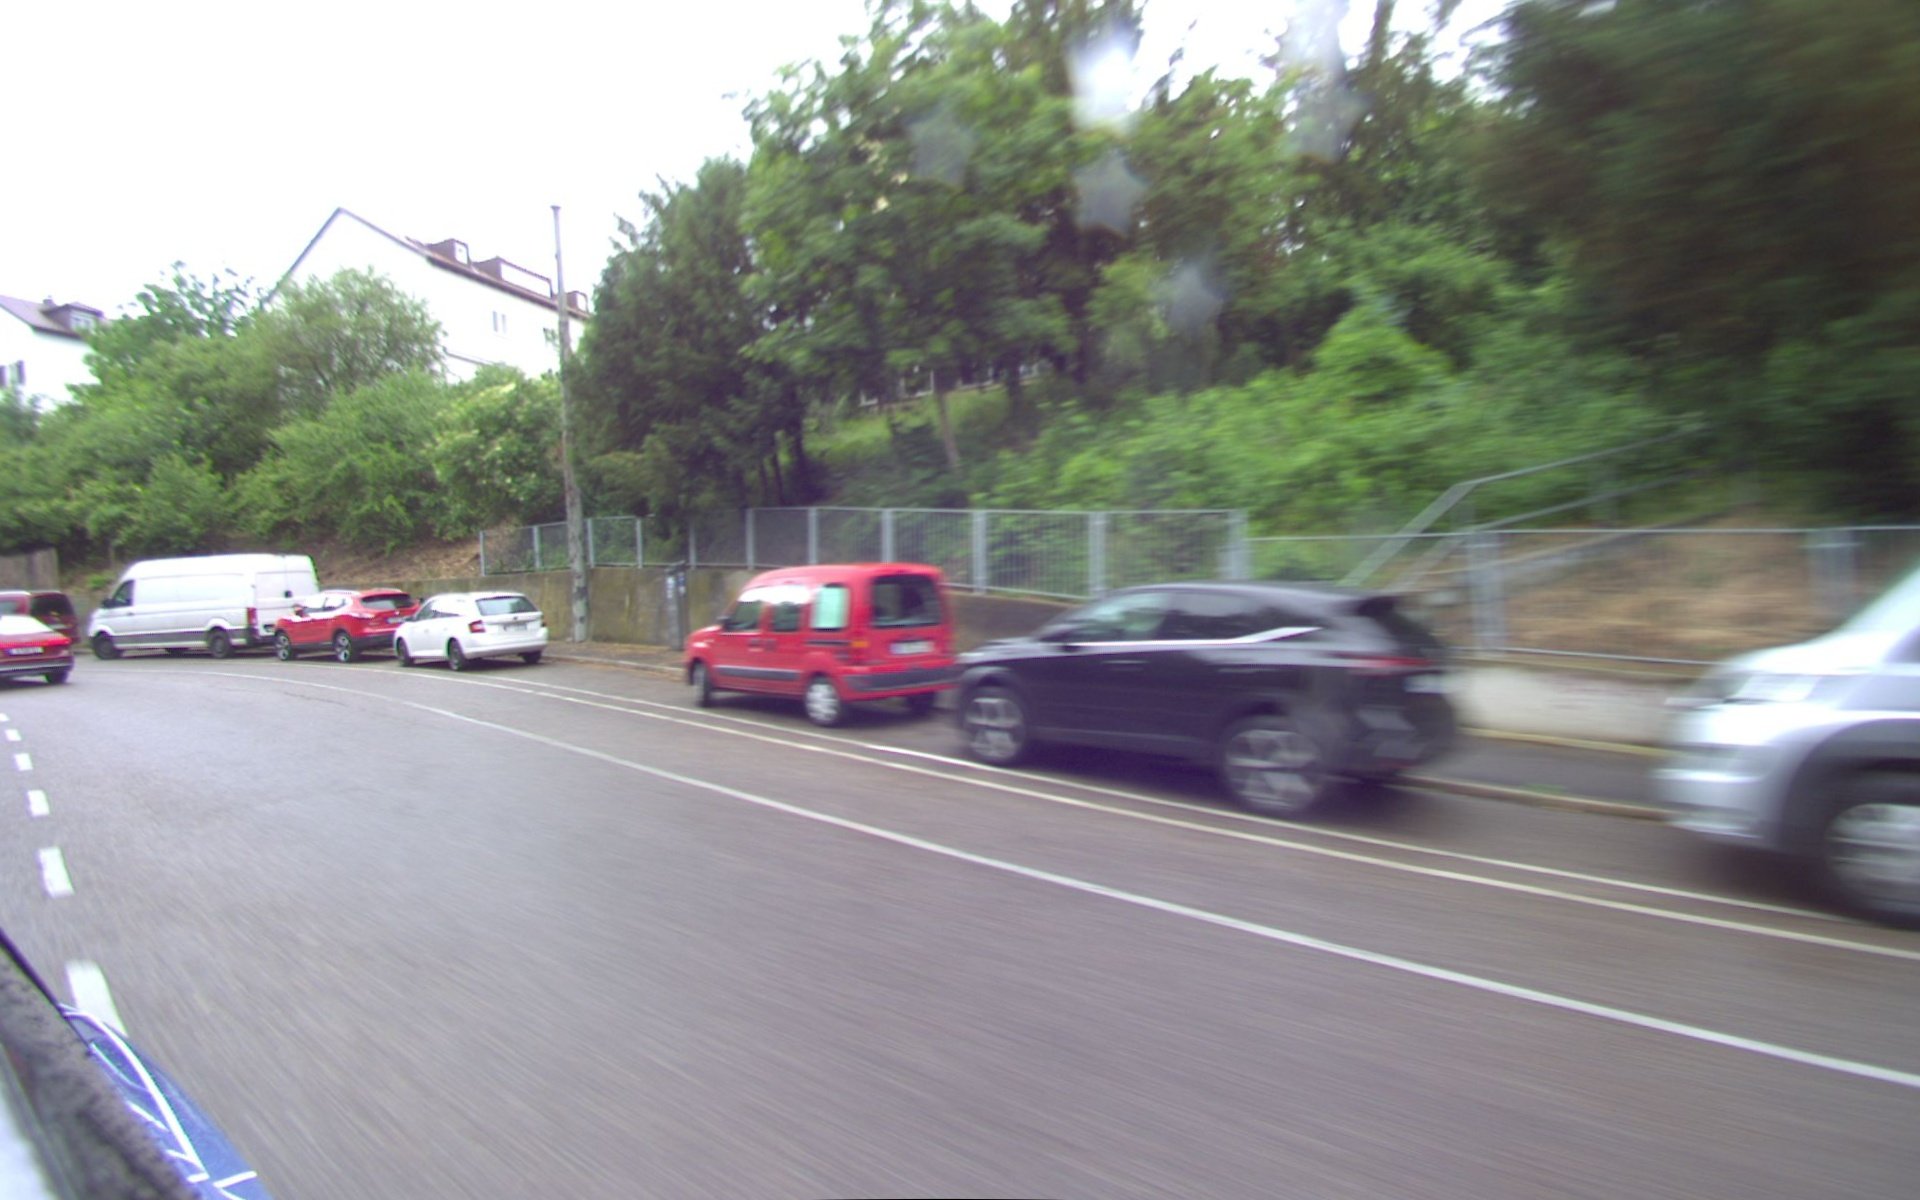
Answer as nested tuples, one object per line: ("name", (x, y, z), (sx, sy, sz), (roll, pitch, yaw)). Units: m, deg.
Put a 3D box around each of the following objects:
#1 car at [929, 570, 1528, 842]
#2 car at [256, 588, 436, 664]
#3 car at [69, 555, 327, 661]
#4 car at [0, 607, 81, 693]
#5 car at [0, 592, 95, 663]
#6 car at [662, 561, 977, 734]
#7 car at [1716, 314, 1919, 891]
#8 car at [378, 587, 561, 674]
("car", (1.954, 0.616, 8.342), (1.970, 1.631, 4.400), (0, 0, -44))
("car", (-14.511, 0.586, 23.870), (4.417, 1.597, 1.763), (-1, 2, 31))
("car", (-20.205, 0.224, 26.810), (6.770, 2.549, 2.028), (-1, 2, 20))
("car", (-19.929, 0.982, 20.557), (4.469, 1.527, 1.854), (0, 4, 32))
("car", (-28.153, 0.812, 29.212), (4.759, 1.890, 1.998), (-2, 1, 4))
("car", (-1.865, 0.448, 12.505), (1.730, 1.781, 4.139), (-1, 2, -45))
("car", (6.863, 0.061, 3.838), (6.336, 2.569, 2.054), (1, 0, 37))
("car", (-10.039, 0.587, 20.578), (4.195, 1.490, 1.721), (-1, 3, 40))
